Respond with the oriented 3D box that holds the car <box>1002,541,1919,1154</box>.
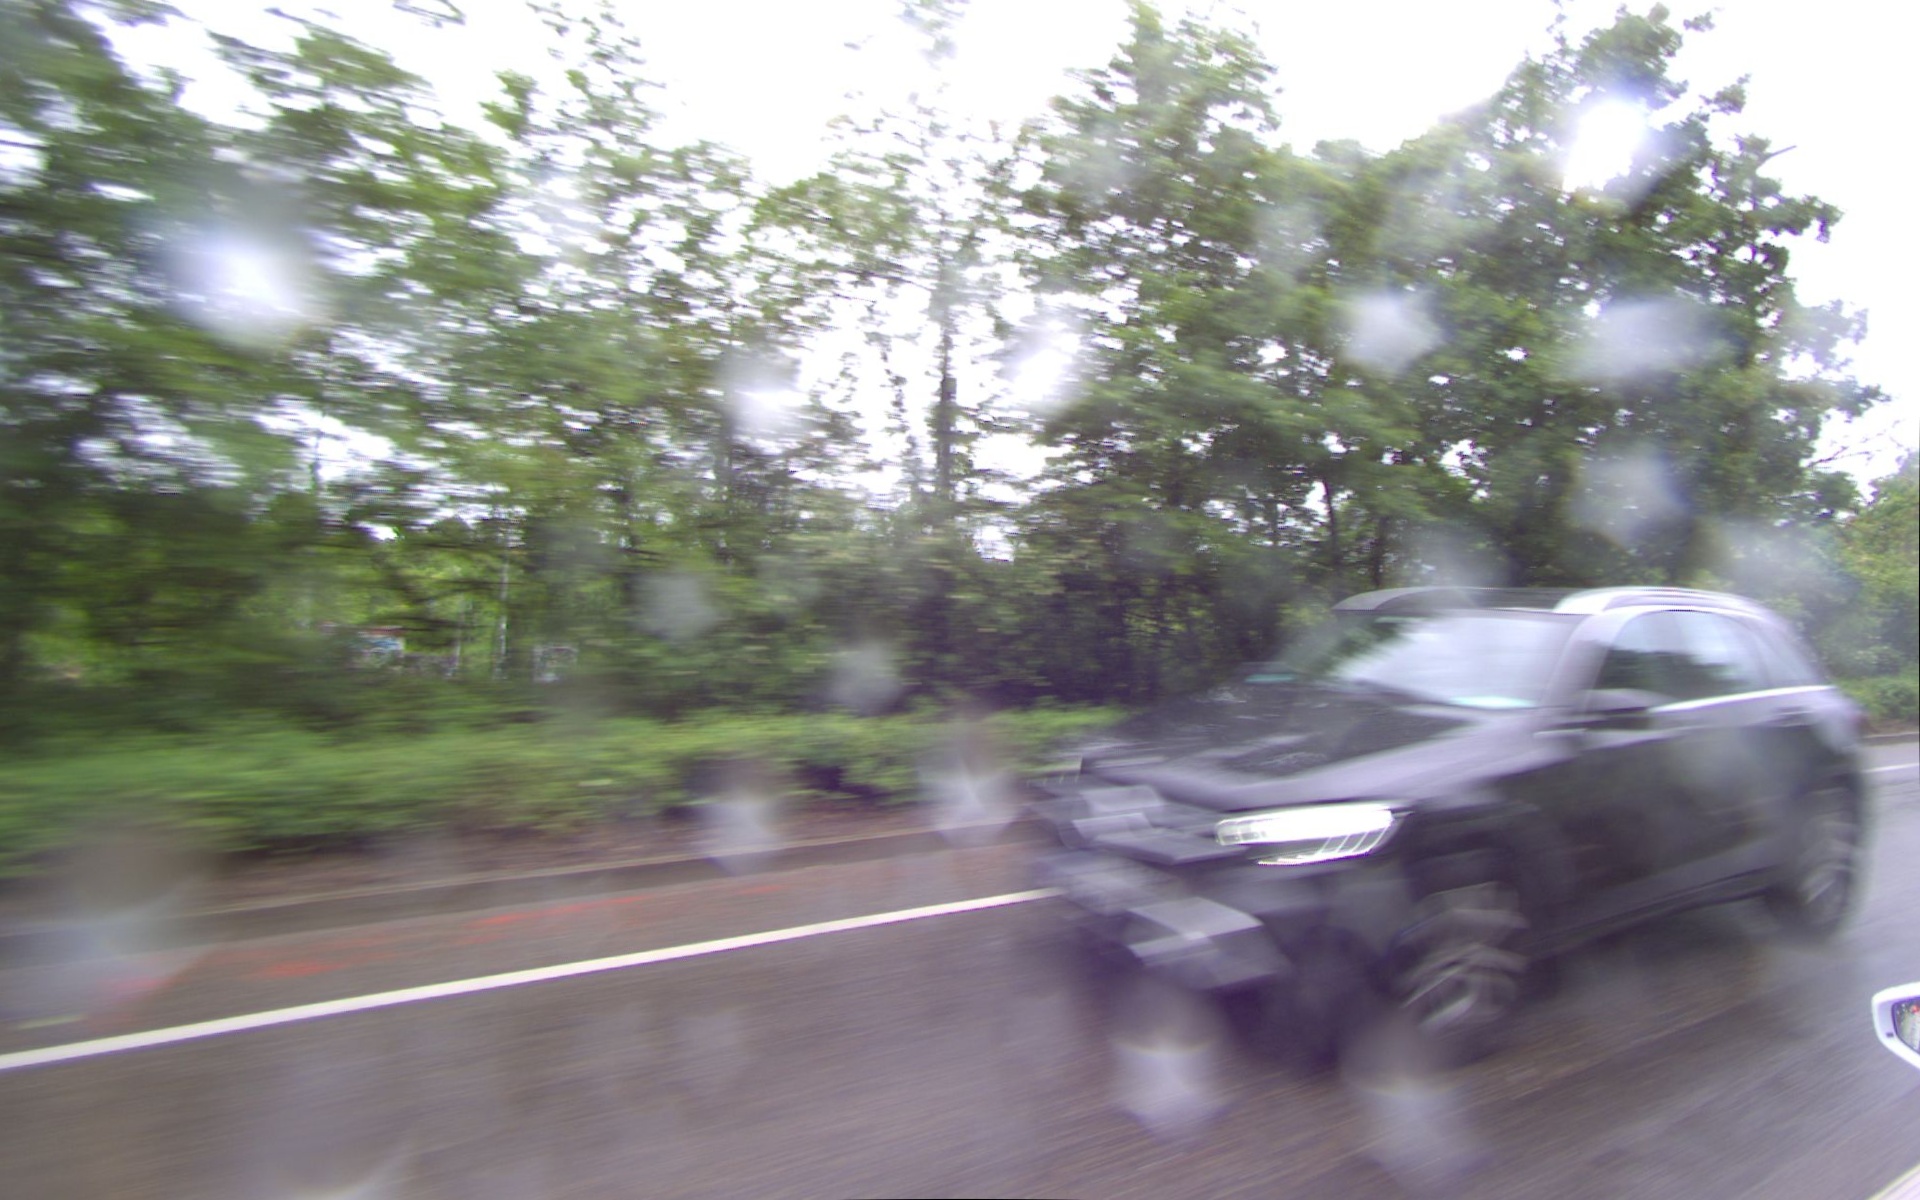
[{"bbox_3d":[2.491,0.731,4.712,4.282,1.728,1.821,1,0,-30],"label":"car"}]
